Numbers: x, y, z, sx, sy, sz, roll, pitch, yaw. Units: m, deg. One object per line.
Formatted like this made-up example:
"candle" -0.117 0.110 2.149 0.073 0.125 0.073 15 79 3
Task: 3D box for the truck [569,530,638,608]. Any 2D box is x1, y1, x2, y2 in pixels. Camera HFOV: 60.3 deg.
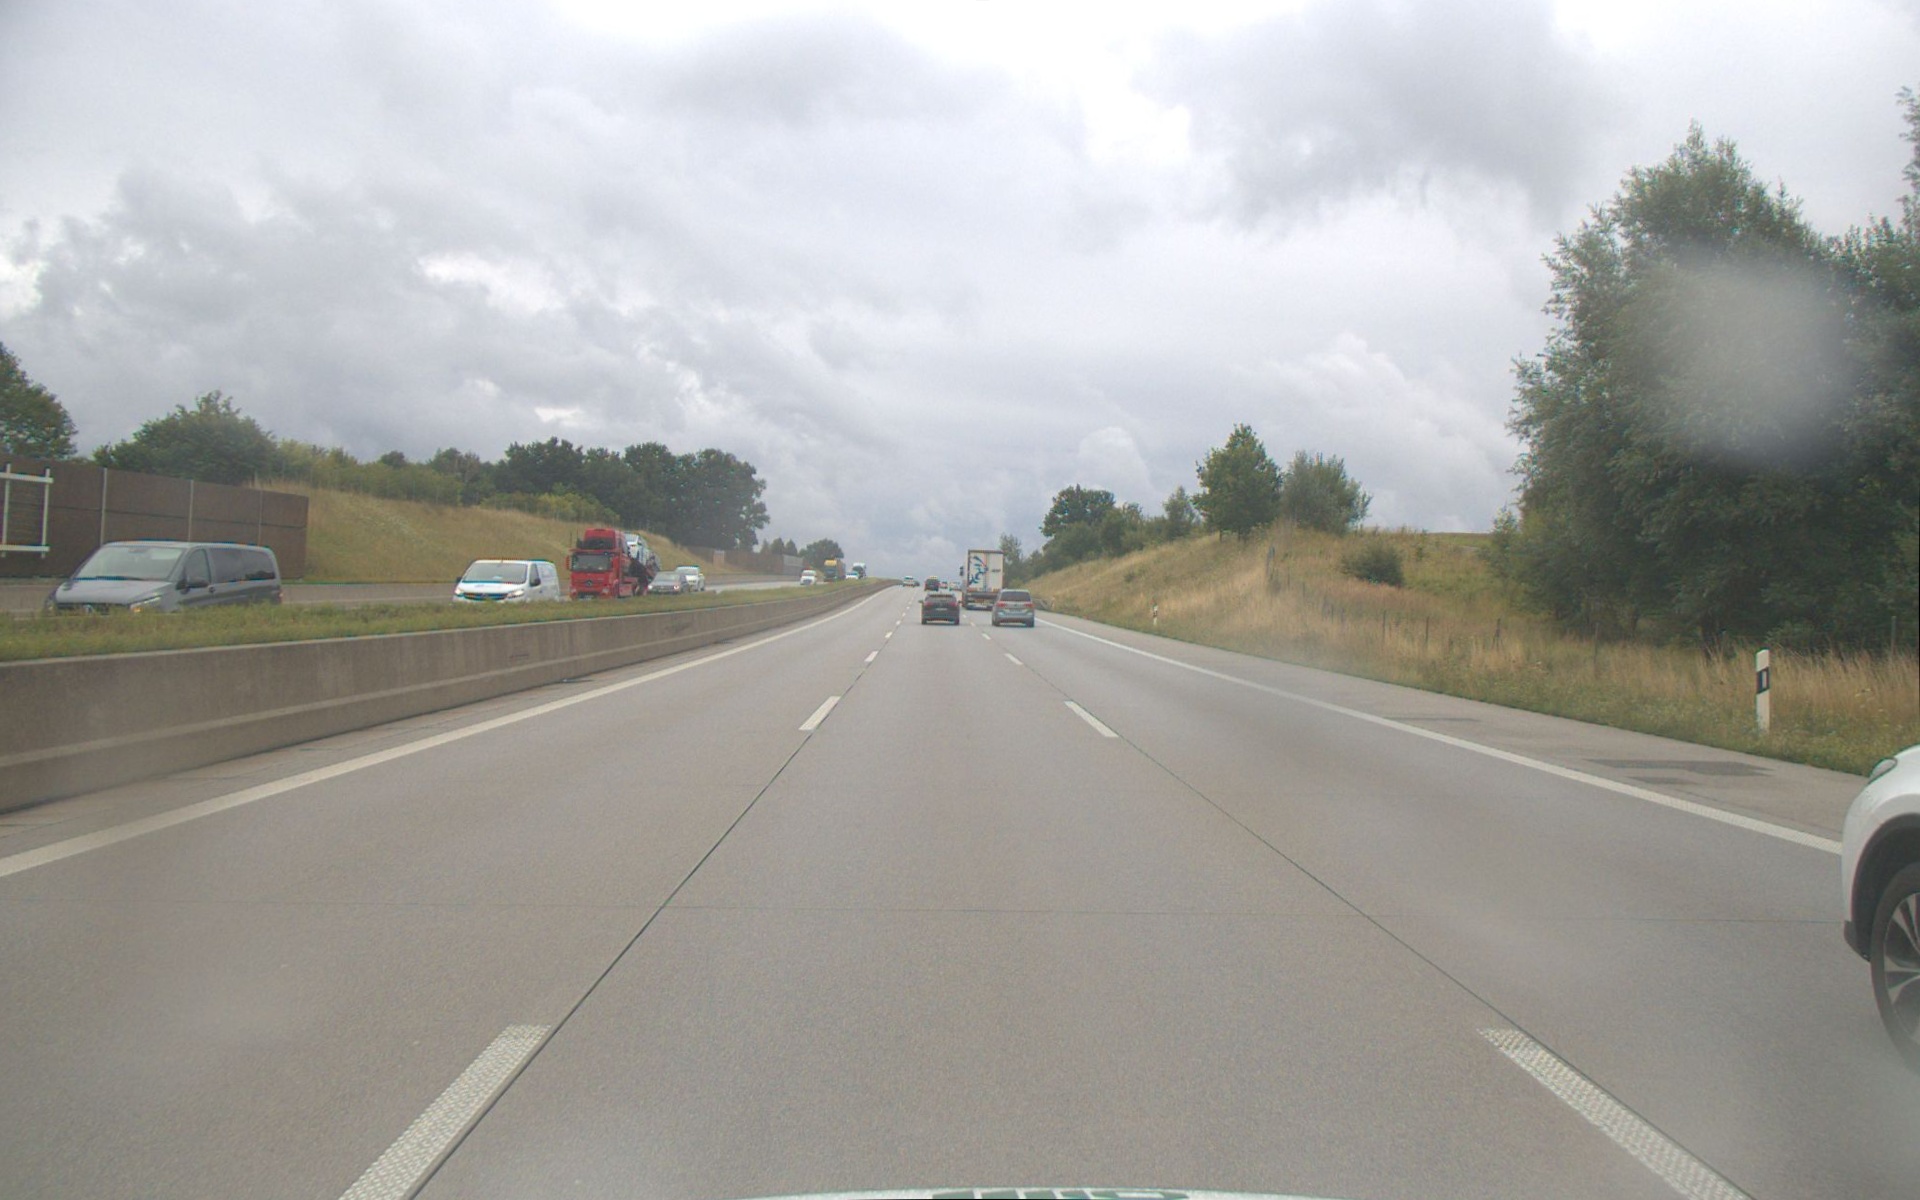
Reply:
"truck" -20.588 -1.732 95.833 2.501 4.326 7.461 1 0 -2

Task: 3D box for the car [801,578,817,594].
"car" -18.672 -1.685 204.489 1.726 1.892 3.999 1 0 -1

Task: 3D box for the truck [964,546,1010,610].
"truck" 1.854 -1.468 116.507 2.956 4.254 8.352 1 0 -1

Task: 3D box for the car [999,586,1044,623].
"car" 2.724 0.193 74.001 1.952 1.557 4.001 1 0 1

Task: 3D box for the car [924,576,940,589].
"car" -3.530 -2.254 211.947 1.895 1.399 4.594 2 -1 0

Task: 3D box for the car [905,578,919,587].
"car" -7.306 -2.649 252.235 1.907 1.379 4.259 1 0 0

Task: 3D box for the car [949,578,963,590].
"car" -0.583 -2.300 243.162 1.952 1.668 4.000 1 0 1

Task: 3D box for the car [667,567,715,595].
"car" -16.326 -1.171 100.655 2.105 1.578 5.349 1 1 -1

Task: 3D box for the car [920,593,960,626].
"car" -0.930 0.464 75.191 1.717 1.423 4.482 1 -1 -2

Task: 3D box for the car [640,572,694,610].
"car" -16.318 -0.491 92.350 2.105 2.049 5.747 1 0 -1

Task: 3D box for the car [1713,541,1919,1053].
"car" 4.080 0.670 4.881 1.789 1.684 3.984 1 0 -2

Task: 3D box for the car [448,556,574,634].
"car" -11.885 -0.134 44.134 1.953 1.919 5.511 1 0 -2

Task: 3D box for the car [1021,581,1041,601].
"car" 7.266 -0.905 169.816 1.952 2.049 4.000 1 0 1

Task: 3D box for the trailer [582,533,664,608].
"trailer" -20.745 -1.750 102.659 2.501 4.291 13.984 1 0 -2

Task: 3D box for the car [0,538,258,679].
"car" -13.145 0.113 26.030 1.953 1.953 5.344 1 0 -1
